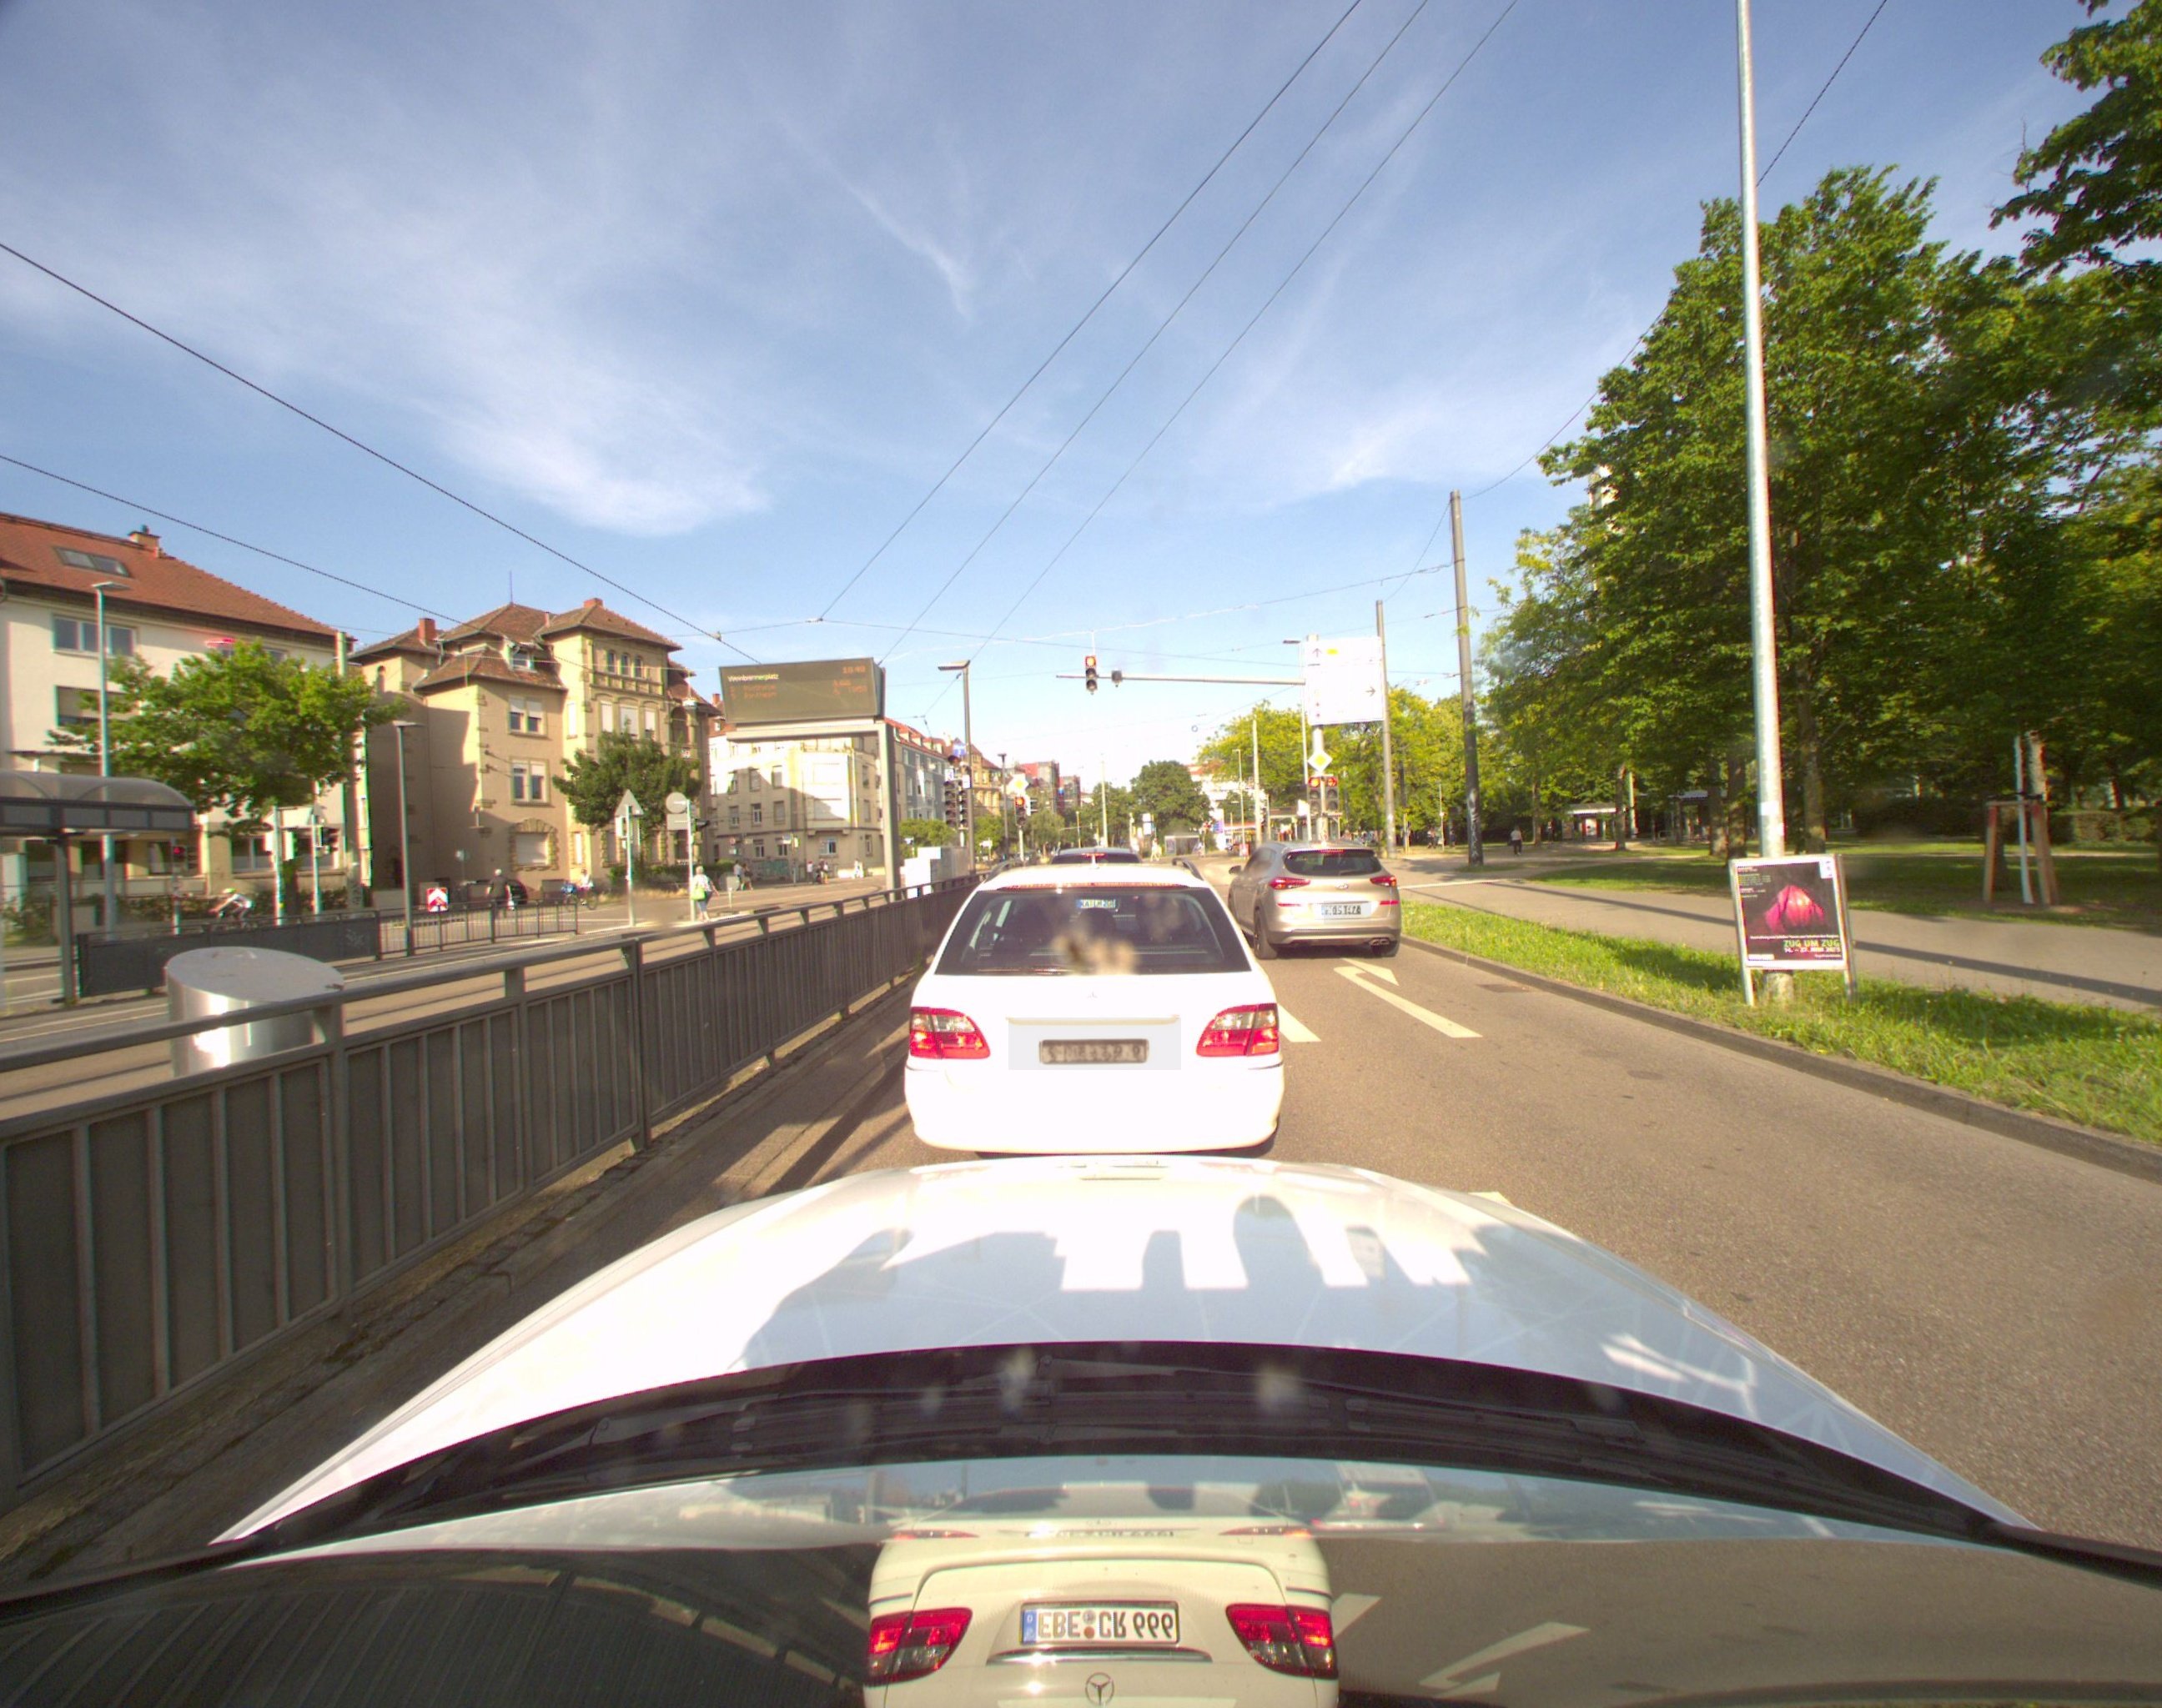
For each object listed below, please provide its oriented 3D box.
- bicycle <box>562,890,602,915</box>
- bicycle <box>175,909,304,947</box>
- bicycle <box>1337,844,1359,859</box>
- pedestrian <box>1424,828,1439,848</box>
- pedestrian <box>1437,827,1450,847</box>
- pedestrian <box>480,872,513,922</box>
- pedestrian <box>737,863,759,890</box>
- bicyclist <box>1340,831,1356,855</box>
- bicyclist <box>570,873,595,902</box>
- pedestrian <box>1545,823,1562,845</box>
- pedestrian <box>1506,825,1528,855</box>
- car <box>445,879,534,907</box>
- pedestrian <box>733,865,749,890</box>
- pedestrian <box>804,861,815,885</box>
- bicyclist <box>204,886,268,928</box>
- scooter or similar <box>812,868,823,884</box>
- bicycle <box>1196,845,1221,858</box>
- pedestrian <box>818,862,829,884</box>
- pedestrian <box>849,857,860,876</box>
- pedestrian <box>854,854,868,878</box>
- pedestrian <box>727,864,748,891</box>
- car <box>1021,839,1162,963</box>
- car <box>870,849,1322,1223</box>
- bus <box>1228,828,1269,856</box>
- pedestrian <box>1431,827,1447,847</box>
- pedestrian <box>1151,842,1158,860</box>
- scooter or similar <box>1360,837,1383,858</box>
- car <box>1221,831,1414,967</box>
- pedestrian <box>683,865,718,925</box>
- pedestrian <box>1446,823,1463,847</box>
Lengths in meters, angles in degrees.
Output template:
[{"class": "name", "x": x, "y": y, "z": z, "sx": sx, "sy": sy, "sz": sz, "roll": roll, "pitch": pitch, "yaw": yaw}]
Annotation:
[{"class": "bicycle", "x": -19.217, "y": 1.873, "z": 31.396, "sx": 0.524, "sy": 0.834, "sz": 1.685, "roll": -3, "pitch": 0, "yaw": -2}, {"class": "bicycle", "x": -27.672, "y": 2.418, "z": 26.879, "sx": 0.779, "sy": 0.914, "sz": 3.006, "roll": -3, "pitch": 0, "yaw": 10}, {"class": "bicycle", "x": 14.687, "y": -0.132, "z": 44.824, "sx": 0.493, "sy": 0.757, "sz": 2.169, "roll": -4, "pitch": 0, "yaw": 2}, {"class": "pedestrian", "x": 27.248, "y": -1.240, "z": 63.300, "sx": 0.820, "sy": 1.487, "sz": 0.692, "roll": -3, "pitch": 0, "yaw": -40}, {"class": "pedestrian", "x": 27.761, "y": -1.302, "z": 62.383, "sx": 0.805, "sy": 1.487, "sz": 0.705, "roll": -3, "pitch": 0, "yaw": 26}, {"class": "pedestrian", "x": -20.310, "y": 1.491, "z": 28.303, "sx": 0.798, "sy": 1.645, "sz": 0.748, "roll": -3, "pitch": 0, "yaw": -42}, {"class": "pedestrian", "x": -20.218, "y": 1.369, "z": 49.465, "sx": 0.822, "sy": 1.552, "sz": 0.786, "roll": -3, "pitch": 0, "yaw": 23}, {"class": "bicyclist", "x": 14.658, "y": -0.618, "z": 44.754, "sx": 0.532, "sy": 1.262, "sz": 0.869, "roll": -3, "pitch": 0, "yaw": 2}, {"class": "bicyclist", "x": -19.241, "y": 1.291, "z": 31.415, "sx": 0.511, "sy": 1.044, "sz": 0.679, "roll": -3, "pitch": 0, "yaw": -3}, {"class": "pedestrian", "x": 36.754, "y": -1.539, "z": 63.407, "sx": 0.831, "sy": 1.636, "sz": 0.804, "roll": -3, "pitch": 0, "yaw": 8}, {"class": "pedestrian", "x": 24.402, "y": -0.790, "z": 45.609, "sx": 0.758, "sy": 1.636, "sz": 0.800, "roll": -3, "pitch": 0, "yaw": -38}, {"class": "car", "x": -29.461, "y": 1.907, "z": 40.569, "sx": 4.066, "sy": 1.310, "sz": 1.774, "roll": -1, "pitch": -1, "yaw": 24}, {"class": "pedestrian", "x": -21.301, "y": 1.480, "z": 51.010, "sx": 0.626, "sy": 1.541, "sz": 0.711, "roll": -3, "pitch": 0, "yaw": 1}, {"class": "pedestrian", "x": -18.809, "y": 1.289, "z": 56.419, "sx": 0.506, "sy": 1.626, "sz": 0.609, "roll": -3, "pitch": 0, "yaw": 3}, {"class": "bicyclist", "x": -27.738, "y": 1.743, "z": 26.746, "sx": 0.758, "sy": 1.262, "sz": 1.178, "roll": -3, "pitch": 0, "yaw": 10}, {"class": "scooter or similar", "x": -18.485, "y": 1.535, "z": 57.213, "sx": 0.541, "sy": 1.079, "sz": 0.683, "roll": -1, "pitch": -1, "yaw": 1}, {"class": "bicycle", "x": 13.342, "y": -0.229, "z": 85.303, "sx": 2.467, "sy": 1.213, "sz": 0.809, "roll": -3, "pitch": 0, "yaw": 9}, {"class": "pedestrian", "x": -17.894, "y": 1.334, "z": 56.623, "sx": 0.434, "sy": 1.500, "sz": 0.551, "roll": -3, "pitch": 0, "yaw": 16}, {"class": "pedestrian", "x": -19.528, "y": 1.077, "z": 70.172, "sx": 0.615, "sy": 1.660, "sz": 0.589, "roll": -3, "pitch": 0, "yaw": 17}, {"class": "pedestrian", "x": -19.182, "y": 1.029, "z": 70.946, "sx": 0.768, "sy": 2.013, "sz": 0.790, "roll": -3, "pitch": 0, "yaw": 17}, {"class": "pedestrian", "x": -21.060, "y": 1.443, "z": 49.926, "sx": 0.822, "sy": 1.552, "sz": 0.786, "roll": -3, "pitch": 0, "yaw": 23}, {"class": "car", "x": 0.202, "y": 0.625, "z": 12.701, "sx": 1.878, "sy": 1.651, "sz": 3.649, "roll": 0, "pitch": 0, "yaw": 2}, {"class": "car", "x": 0.107, "y": 0.726, "z": 5.098, "sx": 1.789, "sy": 1.470, "sz": 3.649, "roll": -1, "pitch": 0, "yaw": 1}, {"class": "bus", "x": 23.037, "y": -1.529, "z": 111.406, "sx": 3.081, "sy": 3.606, "sz": 12.442, "roll": -1, "pitch": -1, "yaw": 23}, {"class": "pedestrian", "x": 28.096, "y": -1.322, "z": 63.888, "sx": 0.813, "sy": 1.487, "sz": 0.698, "roll": -3, "pitch": 0, "yaw": -9}, {"class": "pedestrian", "x": 7.721, "y": -0.317, "z": 85.716, "sx": 0.638, "sy": 1.857, "sz": 0.554, "roll": -3, "pitch": 0, "yaw": 13}, {"class": "scooter or similar", "x": 16.167, "y": -0.337, "z": 45.313, "sx": 0.421, "sy": 1.117, "sz": 1.322, "roll": -3, "pitch": 0, "yaw": -18}, {"class": "car", "x": 3.329, "y": 0.568, "z": 12.209, "sx": 1.878, "sy": 1.651, "sz": 3.649, "roll": -3, "pitch": 0, "yaw": 2}, {"class": "pedestrian", "x": -10.484, "y": 1.116, "z": 22.444, "sx": 0.611, "sy": 1.599, "sz": 0.632, "roll": -3, "pitch": 0, "yaw": -5}, {"class": "pedestrian", "x": 29.111, "y": -1.476, "z": 63.509, "sx": 0.797, "sy": 1.785, "sz": 0.838, "roll": -3, "pitch": 0, "yaw": -2}]
